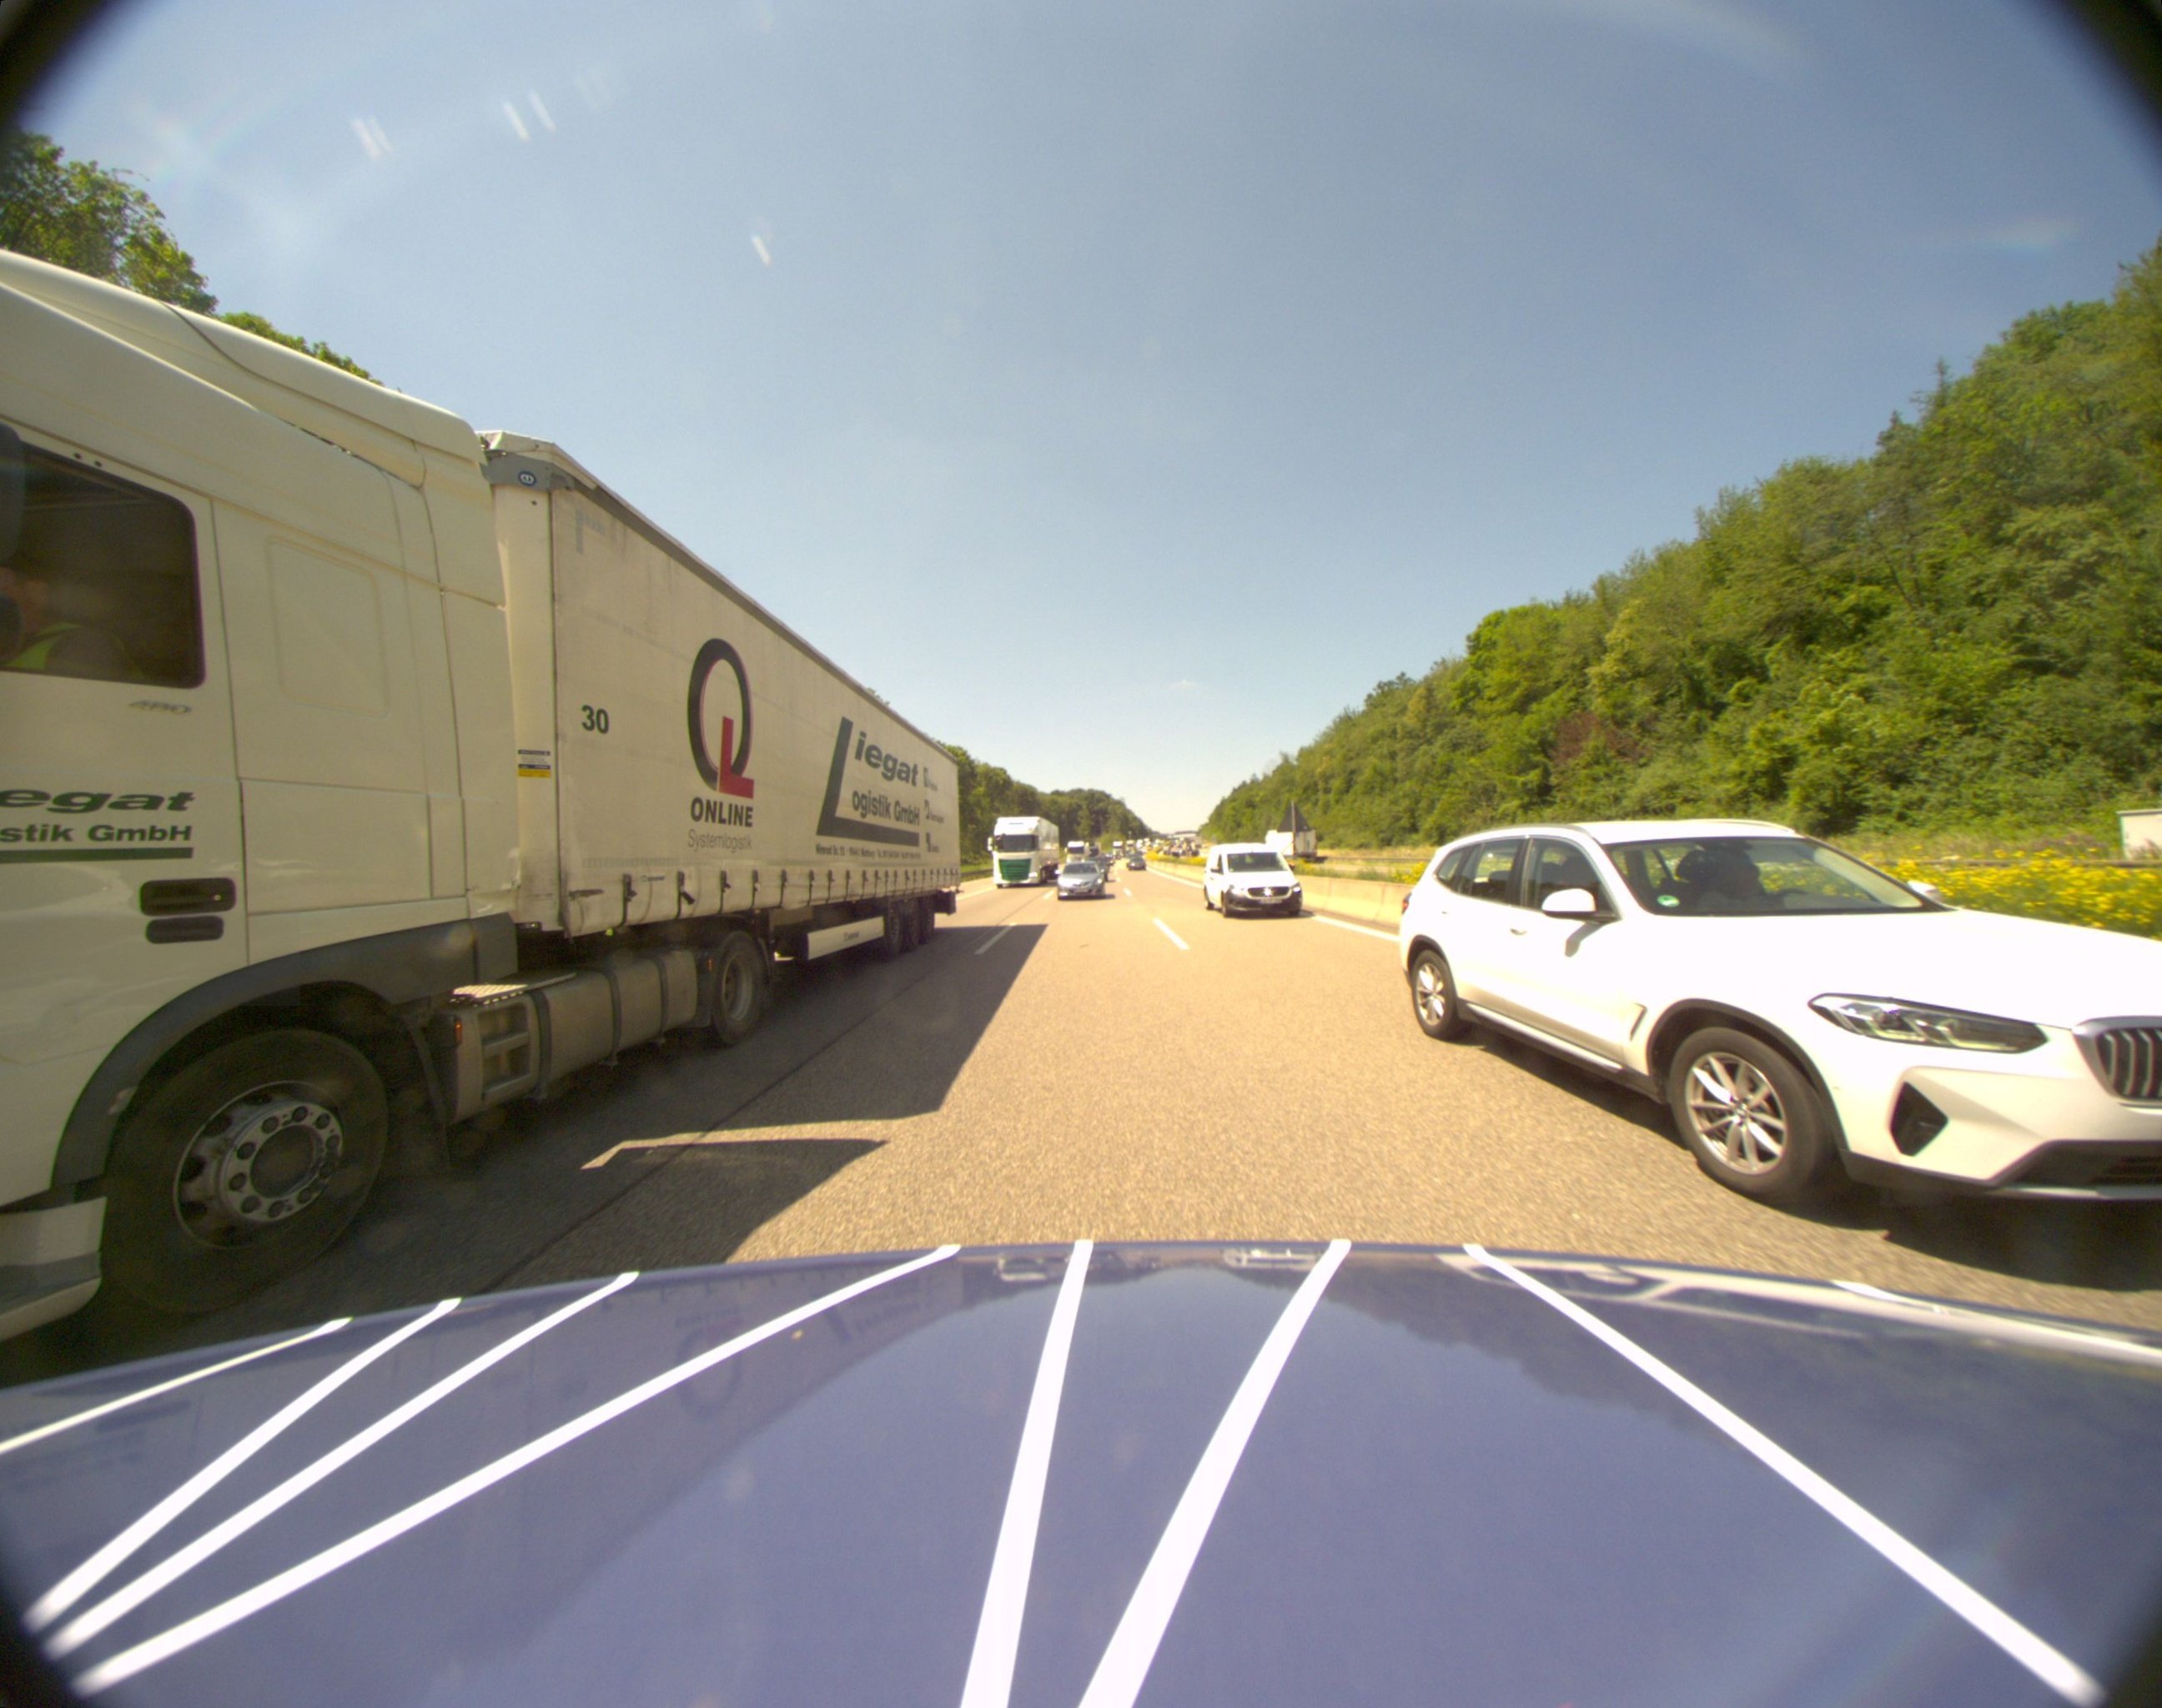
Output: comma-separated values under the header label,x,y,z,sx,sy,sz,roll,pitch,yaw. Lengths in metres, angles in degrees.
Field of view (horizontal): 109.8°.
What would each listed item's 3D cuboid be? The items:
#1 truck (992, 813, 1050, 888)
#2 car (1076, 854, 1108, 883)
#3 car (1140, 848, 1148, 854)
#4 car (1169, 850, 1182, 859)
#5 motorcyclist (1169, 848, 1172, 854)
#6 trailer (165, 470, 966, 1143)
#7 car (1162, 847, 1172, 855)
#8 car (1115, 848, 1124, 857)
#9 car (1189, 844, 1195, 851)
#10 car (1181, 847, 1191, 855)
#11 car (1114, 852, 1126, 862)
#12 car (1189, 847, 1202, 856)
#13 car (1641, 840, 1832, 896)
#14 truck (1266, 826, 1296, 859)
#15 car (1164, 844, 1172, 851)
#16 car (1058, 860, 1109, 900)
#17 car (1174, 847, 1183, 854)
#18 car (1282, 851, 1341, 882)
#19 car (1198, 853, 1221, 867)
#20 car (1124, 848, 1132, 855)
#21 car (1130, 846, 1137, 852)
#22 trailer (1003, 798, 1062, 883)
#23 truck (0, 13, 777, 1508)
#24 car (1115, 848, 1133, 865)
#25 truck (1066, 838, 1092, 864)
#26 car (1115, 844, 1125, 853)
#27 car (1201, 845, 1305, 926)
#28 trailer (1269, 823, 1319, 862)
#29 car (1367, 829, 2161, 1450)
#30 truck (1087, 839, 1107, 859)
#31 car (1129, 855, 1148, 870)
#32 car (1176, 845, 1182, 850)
label,x,y,z,sx,sy,sz,roll,pitch,yaw
truck,-3.394,-0.261,44.721,2.542,4.006,6.625,-2,1,2
car,0.755,0.906,48.261,1.887,1.695,4.084,-2,0,2
car,15.494,-0.692,186.625,1.998,1.426,4.001,-2,0,4
car,17.310,0.119,138.975,1.998,1.668,4.081,-2,0,2
motorcyclist,19.615,-0.657,167.226,0.624,1.326,0.577,-2,1,3
trailer,-4.301,-0.223,11.467,2.793,4.180,13.244,-2,-1,1
car,21.236,-0.710,187.470,1.998,1.739,4.000,-2,0,2
car,8.897,-0.355,174.247,1.998,1.728,4.000,-2,1,3
car,33.733,-1.880,230.747,1.636,2.002,4.001,-2,1,6
car,24.600,-0.781,178.637,1.998,1.718,4.000,-2,0,2
car,6.737,0.489,132.126,1.998,1.728,4.000,-2,1,3
car,21.925,-0.558,145.723,1.953,1.632,3.981,-2,0,2
car,19.005,0.344,22.329,1.998,1.434,4.171,-2,1,0
truck,25.439,-1.456,96.867,2.696,4.066,5.204,-2,1,4
car,26.056,-2.061,227.575,1.998,2.002,4.900,-2,1,3
car,0.152,0.999,31.228,1.887,1.458,4.248,-2,0,2
car,27.358,-1.029,212.706,1.998,1.739,4.000,-2,0,2
car,12.325,0.617,40.982,1.998,1.464,4.874,-2,1,4
car,13.186,0.582,78.364,1.627,1.378,4.137,-2,0,0
car,12.522,-0.783,200.959,1.998,1.728,4.001,-2,1,5
car,15.692,-1.548,228.595,1.998,1.728,4.001,-2,1,5
trailer,-3.102,-0.920,53.437,2.574,5.011,15.271,-2,1,2
truck,-4.380,-0.237,4.255,2.793,4.180,5.870,-2,0,1
car,5.457,0.275,96.622,1.999,2.002,3.999,-2,1,-1
truck,-0.198,-0.470,107.563,3.262,3.337,6.863,-2,1,2
car,12.272,-1.786,237.580,2.697,2.467,6.585,-2,1,5
car,4.274,0.723,19.619,1.769,1.802,4.675,-2,0,2
trailer,25.022,-1.347,89.964,2.721,4.183,13.933,-2,1,3
car,3.628,0.772,4.572,1.869,1.684,4.955,-2,0,-1
truck,3.149,-1.067,148.287,3.558,3.694,7.550,-2,1,2
car,5.906,0.867,78.670,1.720,1.470,4.000,-2,0,1
car,33.688,-2.245,260.093,1.672,1.381,3.509,-2,0,2
